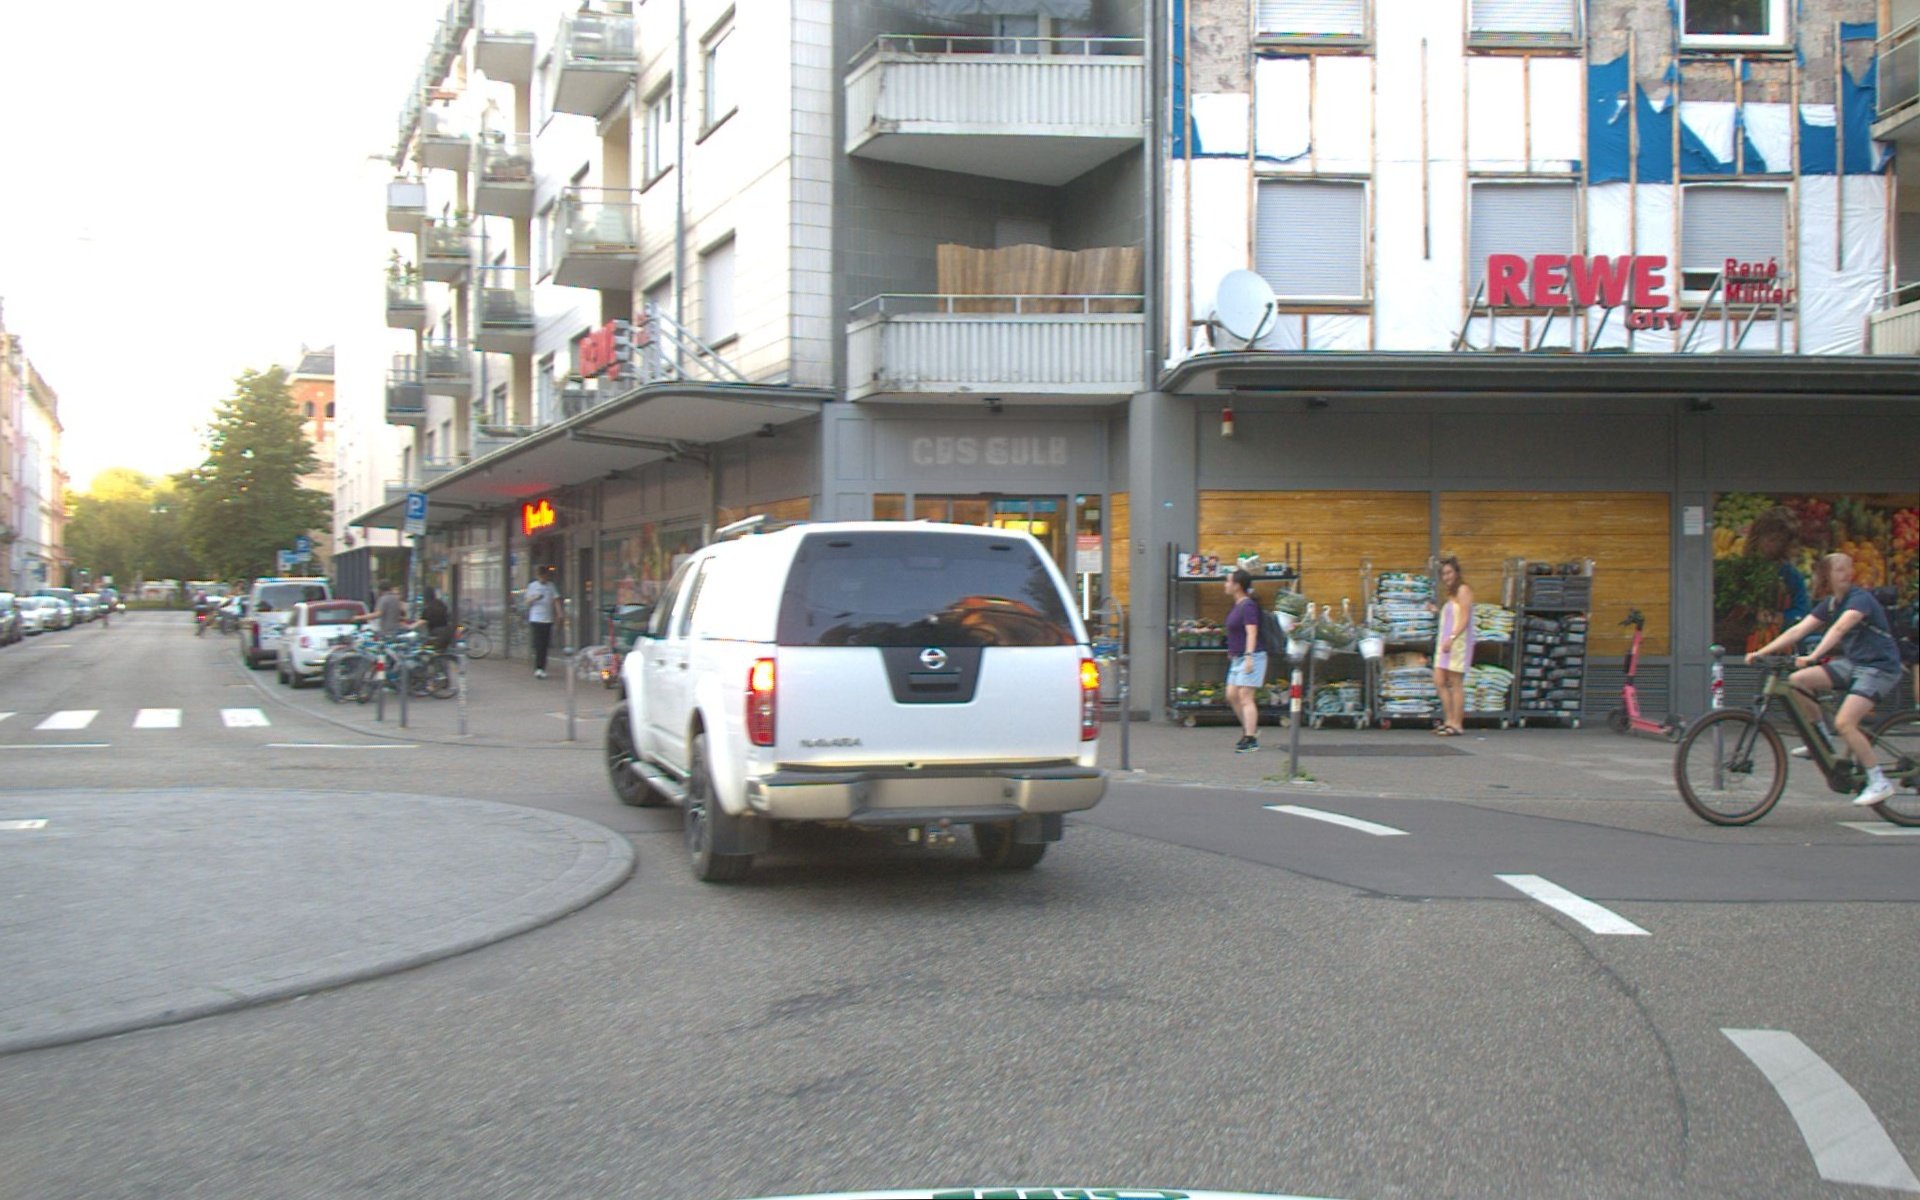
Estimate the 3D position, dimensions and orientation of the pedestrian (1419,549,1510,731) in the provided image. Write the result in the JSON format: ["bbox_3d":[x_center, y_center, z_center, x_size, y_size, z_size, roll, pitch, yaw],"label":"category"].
[{"bbox_3d":[5.023,0.392,16.458,0.653,1.756,0.719,0,-2,37],"label":"pedestrian"}]

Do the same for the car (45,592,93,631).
[{"bbox_3d":[-43.393,0.566,80.595,1.812,1.780,3.966,2,-1,-26],"label":"car"}]

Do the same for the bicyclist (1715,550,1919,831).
[{"bbox_3d":[5.485,0.551,10.565,0.974,1.718,0.791,0,0,2],"label":"bicyclist"}]

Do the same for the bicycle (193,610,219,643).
[{"bbox_3d":[-28.218,0.979,61.873,0.828,1.192,1.919,2,-1,-26],"label":"bicycle"}]

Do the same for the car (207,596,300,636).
[{"bbox_3d":[-33.186,0.762,77.705,3.939,1.780,1.825,2,-1,-27],"label":"car"}]

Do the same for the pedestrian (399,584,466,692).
[{"bbox_3d":[-8.452,0.602,26.513,0.686,1.692,0.722,0,-1,24],"label":"pedestrian"}]

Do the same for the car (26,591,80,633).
[{"bbox_3d":[-40.271,0.531,73.498,1.812,1.780,3.966,2,-1,-26],"label":"car"}]

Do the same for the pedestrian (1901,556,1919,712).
[{"bbox_3d":[10.327,0.358,17.251,0.650,1.629,0.718,1,-1,4],"label":"pedestrian"}]

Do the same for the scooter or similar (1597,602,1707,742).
[{"bbox_3d":[6.761,0.679,16.213,0.315,1.288,1.286,1,1,-10],"label":"scooter or similar"}]

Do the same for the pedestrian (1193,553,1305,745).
[{"bbox_3d":[2.612,0.437,14.936,0.713,1.681,0.702,2,-2,-44],"label":"pedestrian"}]

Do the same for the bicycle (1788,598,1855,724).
[{"bbox_3d":[8.823,0.613,16.981,0.340,1.224,1.809,0,-1,19],"label":"bicycle"}]

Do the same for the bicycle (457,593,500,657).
[{"bbox_3d":[-11.155,0.583,38.281,0.549,1.432,2.076,2,-1,-27],"label":"bicycle"}]

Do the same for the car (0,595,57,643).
[{"bbox_3d":[-36.631,0.746,64.950,1.812,1.780,3.966,2,-1,-26],"label":"car"}]

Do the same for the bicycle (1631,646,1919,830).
[{"bbox_3d":[5.561,0.861,10.566,2.230,1.091,0.791,0,0,1],"label":"bicycle"}]

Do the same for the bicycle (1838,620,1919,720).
[{"bbox_3d":[10.412,0.753,17.705,1.838,1.044,0.378,1,-1,-2],"label":"bicycle"}]

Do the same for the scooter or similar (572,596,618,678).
[{"bbox_3d":[-6.051,0.609,27.378,0.434,1.313,1.656,1,-1,-23],"label":"scooter or similar"}]

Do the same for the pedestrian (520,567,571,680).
[{"bbox_3d":[-7.254,0.407,28.911,0.711,1.940,0.697,2,-1,-25],"label":"pedestrian"}]

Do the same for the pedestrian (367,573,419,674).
[{"bbox_3d":[-9.625,0.401,28.071,0.692,1.692,0.715,2,-1,-28],"label":"pedestrian"}]

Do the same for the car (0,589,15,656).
[{"bbox_3d":[-27.147,0.592,45.366,1.812,1.780,4.128,2,-1,-26],"label":"car"}]

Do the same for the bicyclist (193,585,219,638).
[{"bbox_3d":[-28.191,0.439,61.822,0.828,1.978,0.778,2,-1,-27],"label":"bicyclist"}]

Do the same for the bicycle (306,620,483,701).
[{"bbox_3d":[-8.564,0.896,25.094,2.436,1.056,0.610,-3,1,-31],"label":"bicycle"}]

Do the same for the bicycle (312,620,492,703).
[{"bbox_3d":[-8.249,0.892,24.509,2.436,1.056,0.610,-3,1,-31],"label":"bicycle"}]

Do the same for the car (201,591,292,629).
[{"bbox_3d":[-34.672,0.498,80.399,3.939,1.780,1.825,2,-1,-27],"label":"car"}]

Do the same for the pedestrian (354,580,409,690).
[{"bbox_3d":[-9.052,0.550,25.878,0.711,1.692,0.697,2,-1,-25],"label":"pedestrian"}]

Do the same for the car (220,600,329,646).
[{"bbox_3d":[-27.729,0.937,66.900,3.939,1.780,1.825,2,-1,-27],"label":"car"}]

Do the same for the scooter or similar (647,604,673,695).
[{"bbox_3d":[-4.337,0.702,23.875,0.216,1.259,0.961,1,1,-18],"label":"scooter or similar"}]

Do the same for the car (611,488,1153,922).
[{"bbox_3d":[-0.794,0.404,9.694,1.908,1.841,4.975,1,1,-18],"label":"car"}]

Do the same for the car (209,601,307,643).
[{"bbox_3d":[-31.307,0.993,73.773,3.939,1.780,1.825,2,-1,-27],"label":"car"}]

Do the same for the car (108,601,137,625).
[{"bbox_3d":[-61.906,0.967,122.305,1.812,1.780,3.966,2,-1,-26],"label":"car"}]

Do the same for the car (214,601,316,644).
[{"bbox_3d":[-29.942,0.973,71.226,3.939,1.780,1.825,2,-1,-27],"label":"car"}]

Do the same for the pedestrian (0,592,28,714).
[{"bbox_3d":[-13.303,0.717,22.722,0.788,1.649,0.936,2,-1,-28],"label":"pedestrian"}]

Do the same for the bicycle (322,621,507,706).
[{"bbox_3d":[-7.873,0.897,23.942,2.436,1.056,0.610,-3,1,-30],"label":"bicycle"}]

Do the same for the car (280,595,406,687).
[{"bbox_3d":[-11.454,0.737,30.571,1.812,1.569,3.966,2,-1,-26],"label":"car"}]

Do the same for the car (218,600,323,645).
[{"bbox_3d":[-28.717,0.954,68.888,3.939,1.780,1.825,2,-1,-27],"label":"car"}]

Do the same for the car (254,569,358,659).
[{"bbox_3d":[-15.234,0.341,38.420,1.919,1.967,3.966,2,-1,-26],"label":"car"}]
